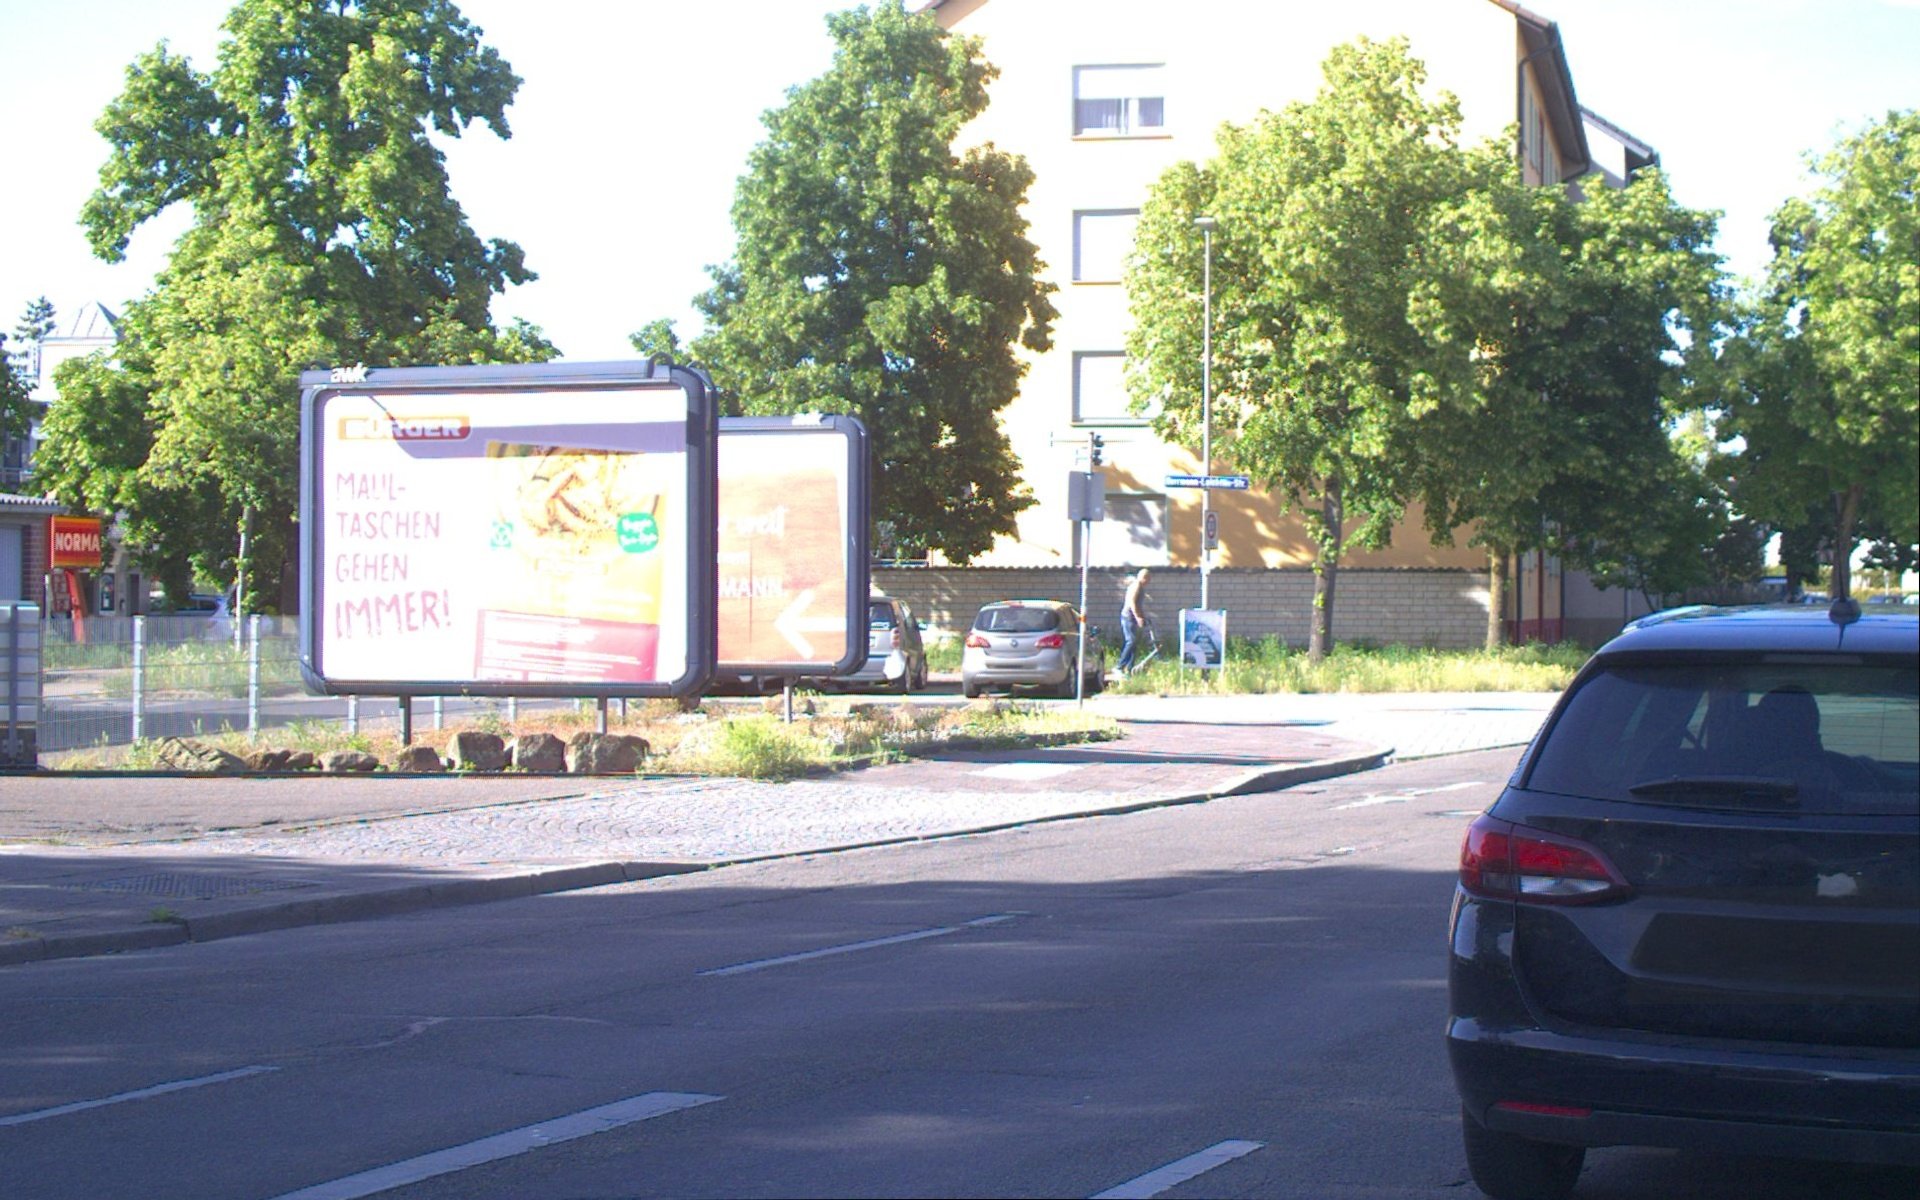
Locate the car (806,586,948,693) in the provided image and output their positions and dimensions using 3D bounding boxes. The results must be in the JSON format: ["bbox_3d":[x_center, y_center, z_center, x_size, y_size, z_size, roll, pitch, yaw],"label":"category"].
[{"bbox_3d":[-1.298,0.598,55.289,1.698,1.616,3.880,0,1,8],"label":"car"}]

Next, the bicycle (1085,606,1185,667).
[{"bbox_3d":[2.922,0.613,57.453,1.616,1.007,0.406,1,-2,-8],"label":"bicycle"}]

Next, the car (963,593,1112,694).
[{"bbox_3d":[1.244,0.651,53.660,1.729,1.459,3.880,0,1,10],"label":"car"}]

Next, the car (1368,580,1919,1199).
[{"bbox_3d":[2.528,0.739,9.059,1.764,1.486,4.285,1,0,23],"label":"car"}]

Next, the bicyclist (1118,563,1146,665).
[{"bbox_3d":[2.874,0.239,57.477,0.388,1.680,0.382,1,-2,-8],"label":"bicyclist"}]
